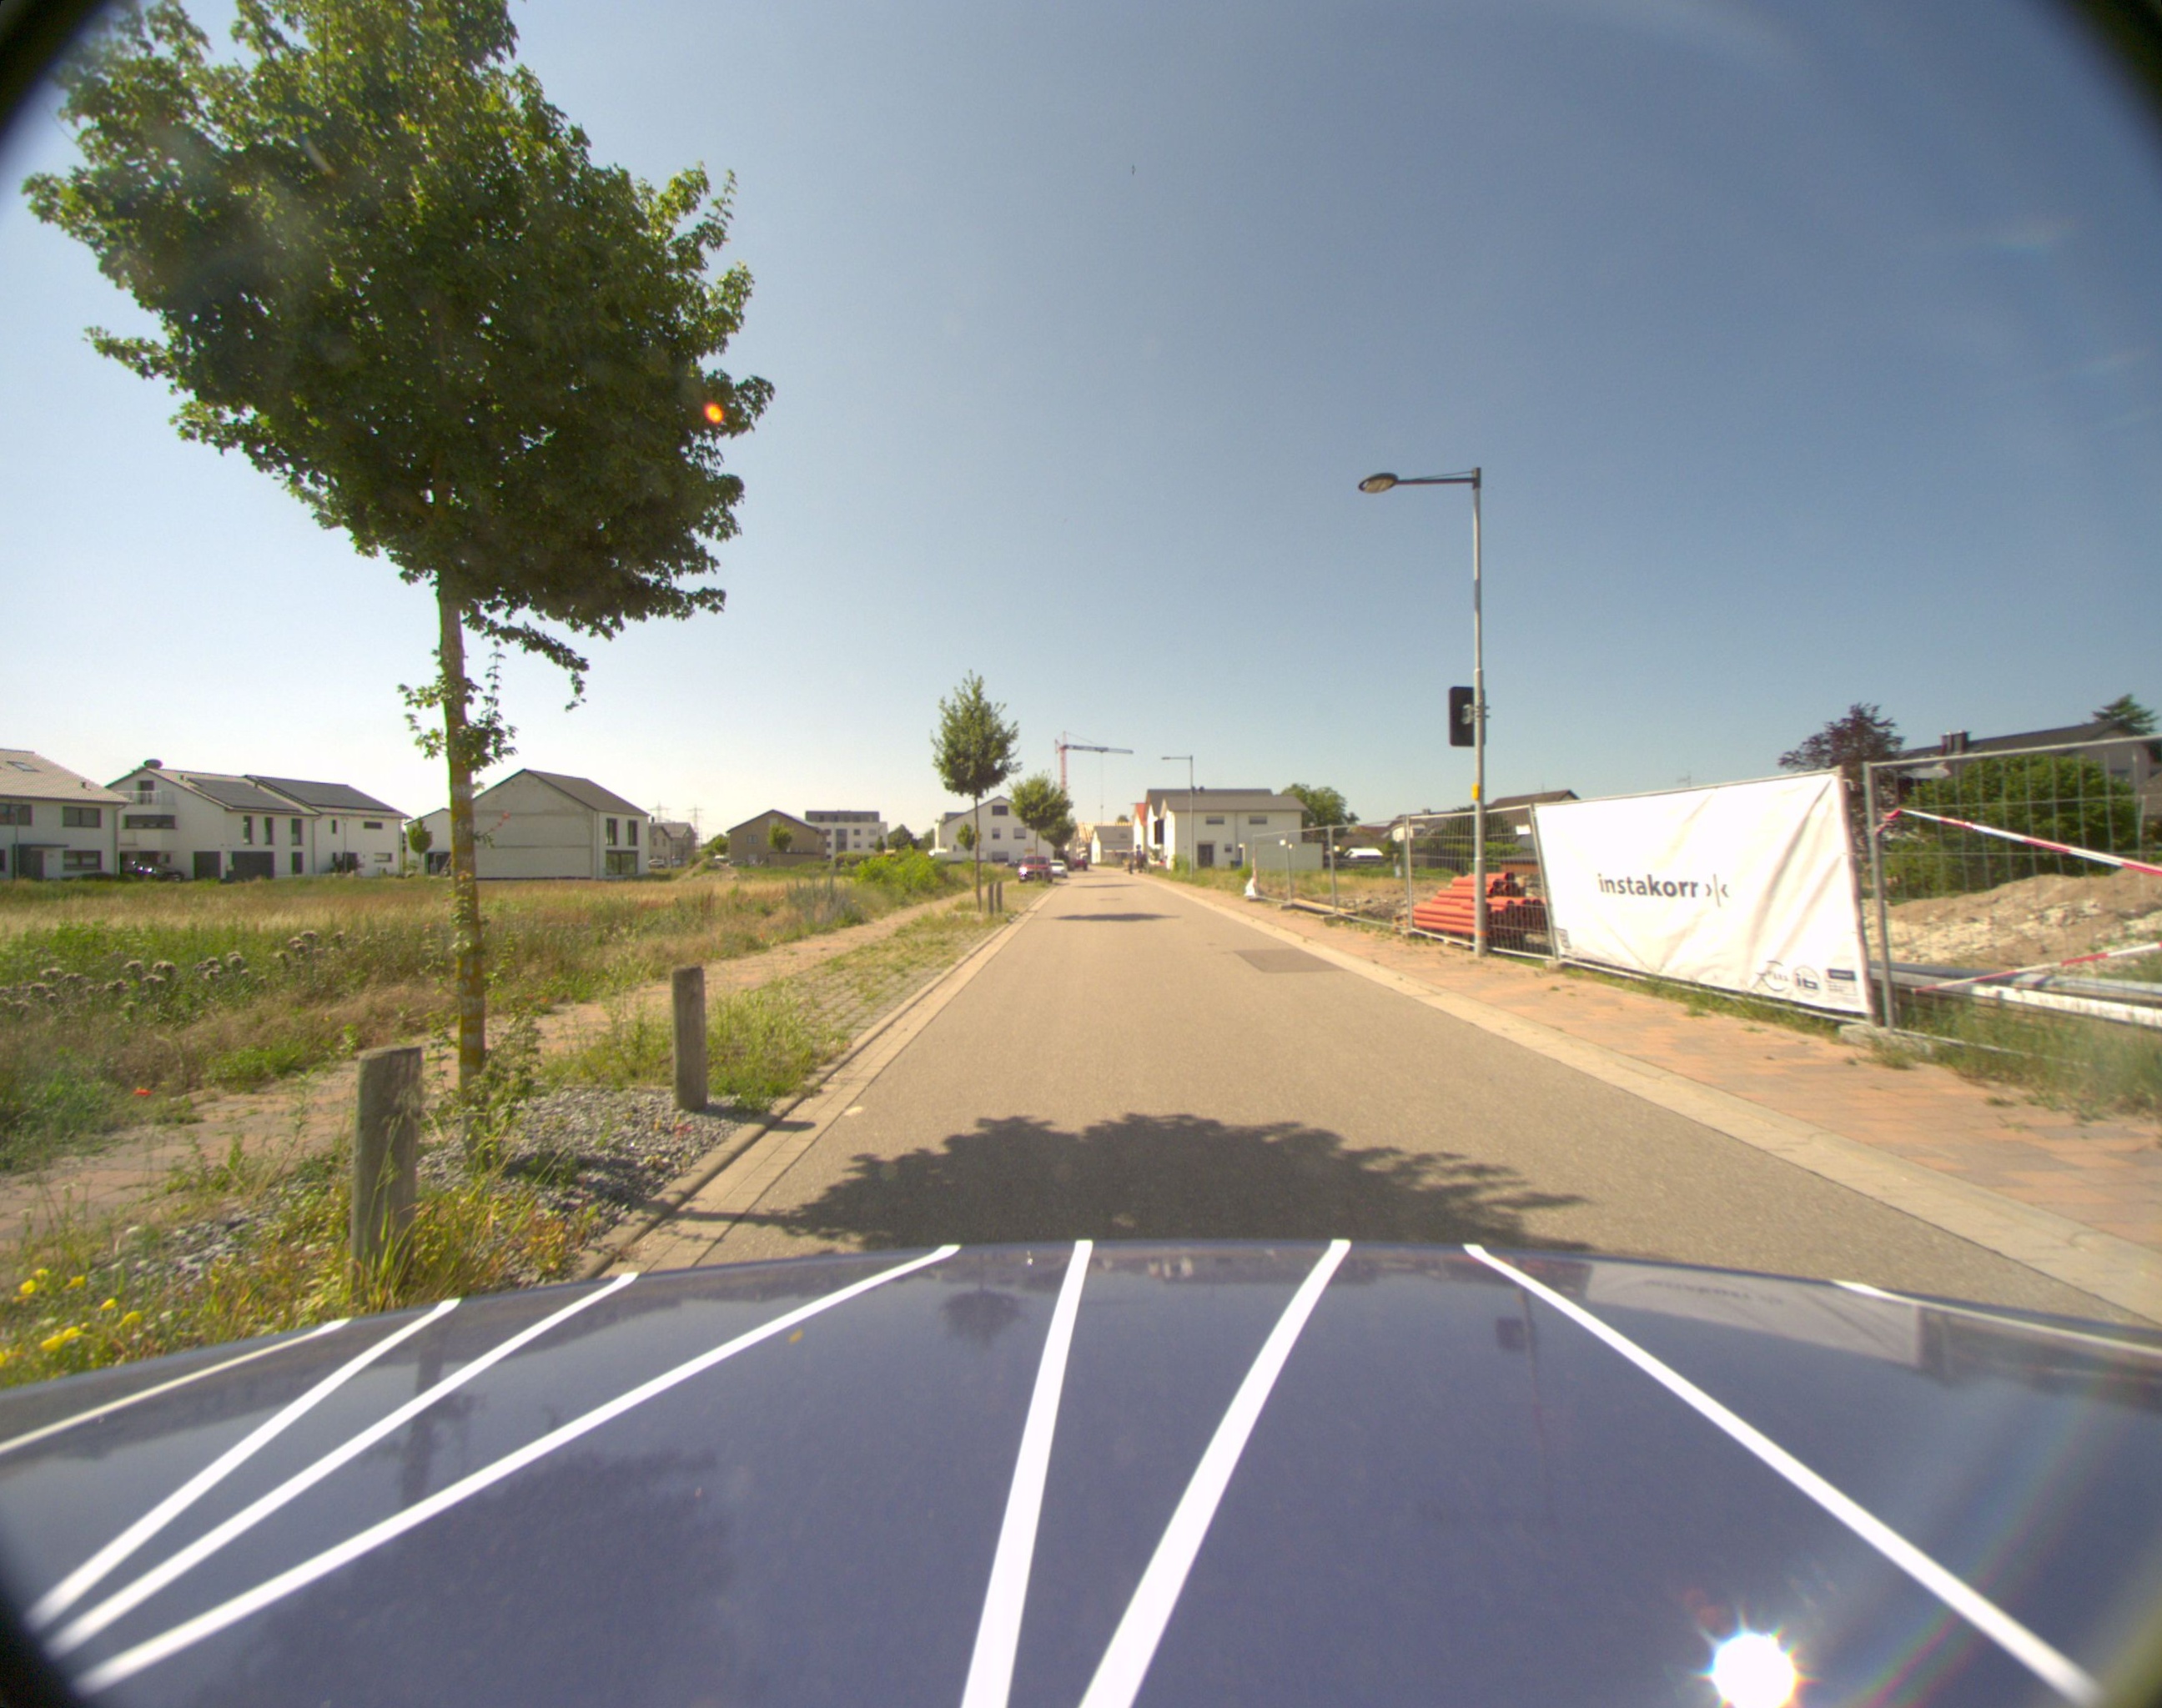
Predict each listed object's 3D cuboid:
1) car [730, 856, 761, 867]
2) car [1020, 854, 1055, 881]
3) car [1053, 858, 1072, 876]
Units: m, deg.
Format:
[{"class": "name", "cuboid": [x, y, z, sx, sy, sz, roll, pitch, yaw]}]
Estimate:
[{"class": "car", "cuboid": [-50.103, 1.113, 113.509, 4.000, 1.444, 1.633, -1, 0, -8]}, {"class": "car", "cuboid": [-2.468, 0.765, 44.103, 1.769, 1.483, 4.000, -1, 0, 0]}, {"class": "car", "cuboid": [-1.561, 1.074, 63.808, 1.493, 1.389, 3.272, -1, 0, 0]}]
